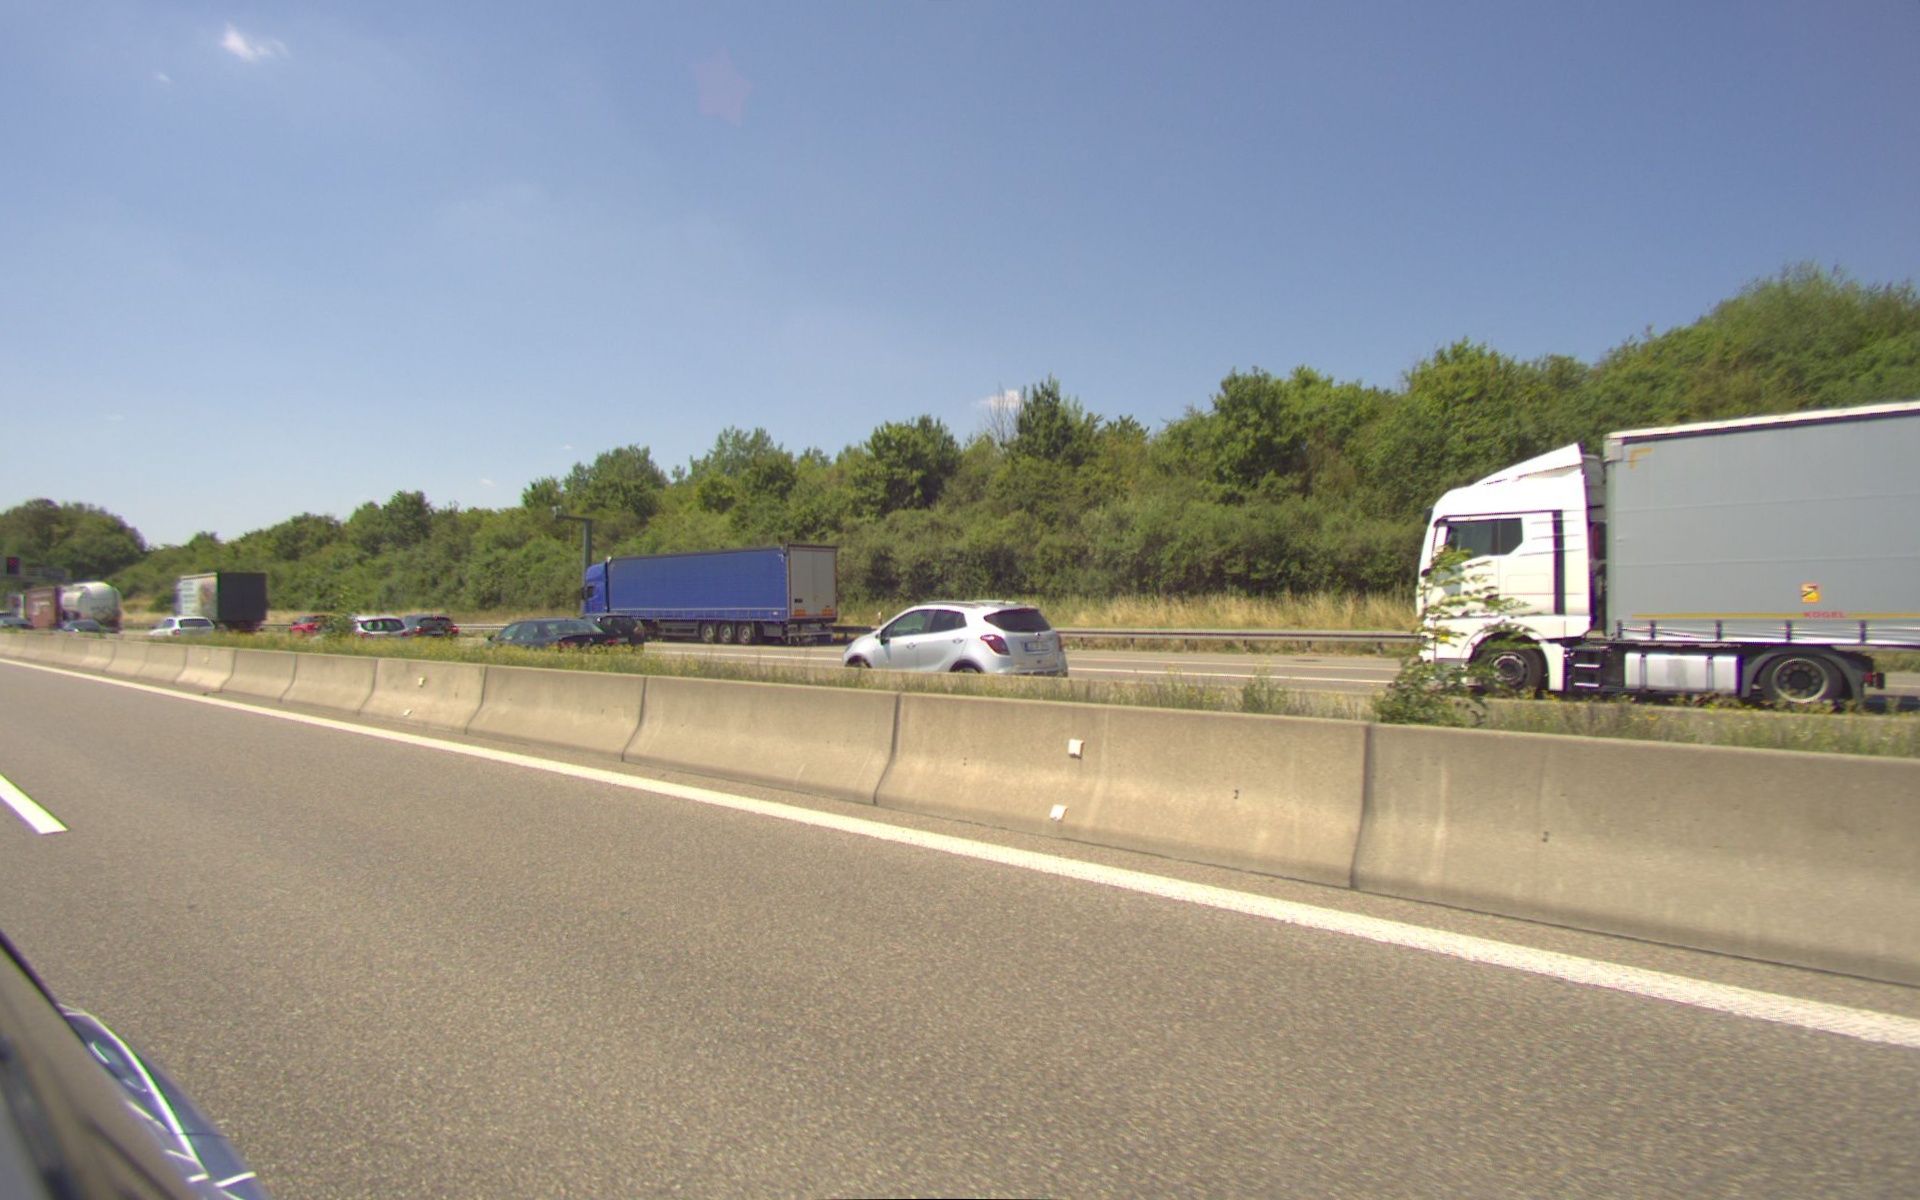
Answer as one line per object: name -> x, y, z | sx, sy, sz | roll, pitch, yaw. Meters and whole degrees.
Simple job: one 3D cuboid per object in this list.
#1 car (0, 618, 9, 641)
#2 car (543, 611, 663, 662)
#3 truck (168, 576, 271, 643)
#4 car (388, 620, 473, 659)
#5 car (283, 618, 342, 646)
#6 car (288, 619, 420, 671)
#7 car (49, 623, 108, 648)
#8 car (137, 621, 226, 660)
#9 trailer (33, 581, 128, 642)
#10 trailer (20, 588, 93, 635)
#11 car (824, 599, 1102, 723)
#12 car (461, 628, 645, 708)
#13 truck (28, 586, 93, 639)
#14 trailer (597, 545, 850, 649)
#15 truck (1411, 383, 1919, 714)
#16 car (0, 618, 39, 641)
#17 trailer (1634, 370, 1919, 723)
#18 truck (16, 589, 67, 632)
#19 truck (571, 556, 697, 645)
car -> -87.510, 2.637, 91.196 | 4.539, 2.045, 1.937 | -1, -1, 38
car -> -11.554, 1.143, 32.657 | 4.309, 1.532, 1.971 | -1, -1, 44
truck -> -47.307, 0.637, 64.499 | 10.347, 3.946, 2.978 | -1, -1, 40
car -> -21.390, 1.541, 40.769 | 1.856, 1.461, 4.636 | 1, -1, -43
car -> -34.163, 1.679, 53.375 | 4.213, 1.415, 1.727 | -1, -1, 44
car -> -18.467, 1.319, 30.764 | 4.788, 1.456, 1.974 | -1, -1, 40
car -> -48.495, 1.947, 55.640 | 4.218, 1.285, 1.773 | -1, -1, 40
car -> -33.745, 1.707, 43.806 | 5.147, 1.532, 1.974 | -1, -1, 40
trailer -> -65.060, 0.835, 74.697 | 14.157, 4.196, 2.908 | -1, 0, 39
trailer -> -84.513, 1.082, 94.492 | 14.069, 4.141, 2.909 | -1, -1, 39
car -> -0.087, 0.871, 16.083 | 1.820, 1.690, 4.444 | 1, -1, -45
car -> -9.059, 1.423, 22.382 | 4.303, 1.532, 1.974 | -1, -1, 40
truck -> -69.685, 0.933, 78.354 | 6.080, 3.910, 2.855 | -1, 0, 39
trailer -> -10.931, 0.014, 44.777 | 14.487, 4.001, 3.048 | -2, -1, 42
truck -> 10.861, -0.584, 15.955 | 6.180, 4.164, 3.166 | -1, -1, 41
car -> -66.756, 2.063, 71.474 | 4.827, 1.481, 1.825 | -1, 0, 39
trailer -> 16.053, -0.736, 11.381 | 13.773, 4.455, 3.188 | -1, -1, 41
truck -> -89.434, 1.050, 98.497 | 5.127, 4.040, 2.939 | -1, -1, 39
truck -> -15.851, 0.065, 49.104 | 6.090, 4.059, 3.057 | -2, -1, 41
